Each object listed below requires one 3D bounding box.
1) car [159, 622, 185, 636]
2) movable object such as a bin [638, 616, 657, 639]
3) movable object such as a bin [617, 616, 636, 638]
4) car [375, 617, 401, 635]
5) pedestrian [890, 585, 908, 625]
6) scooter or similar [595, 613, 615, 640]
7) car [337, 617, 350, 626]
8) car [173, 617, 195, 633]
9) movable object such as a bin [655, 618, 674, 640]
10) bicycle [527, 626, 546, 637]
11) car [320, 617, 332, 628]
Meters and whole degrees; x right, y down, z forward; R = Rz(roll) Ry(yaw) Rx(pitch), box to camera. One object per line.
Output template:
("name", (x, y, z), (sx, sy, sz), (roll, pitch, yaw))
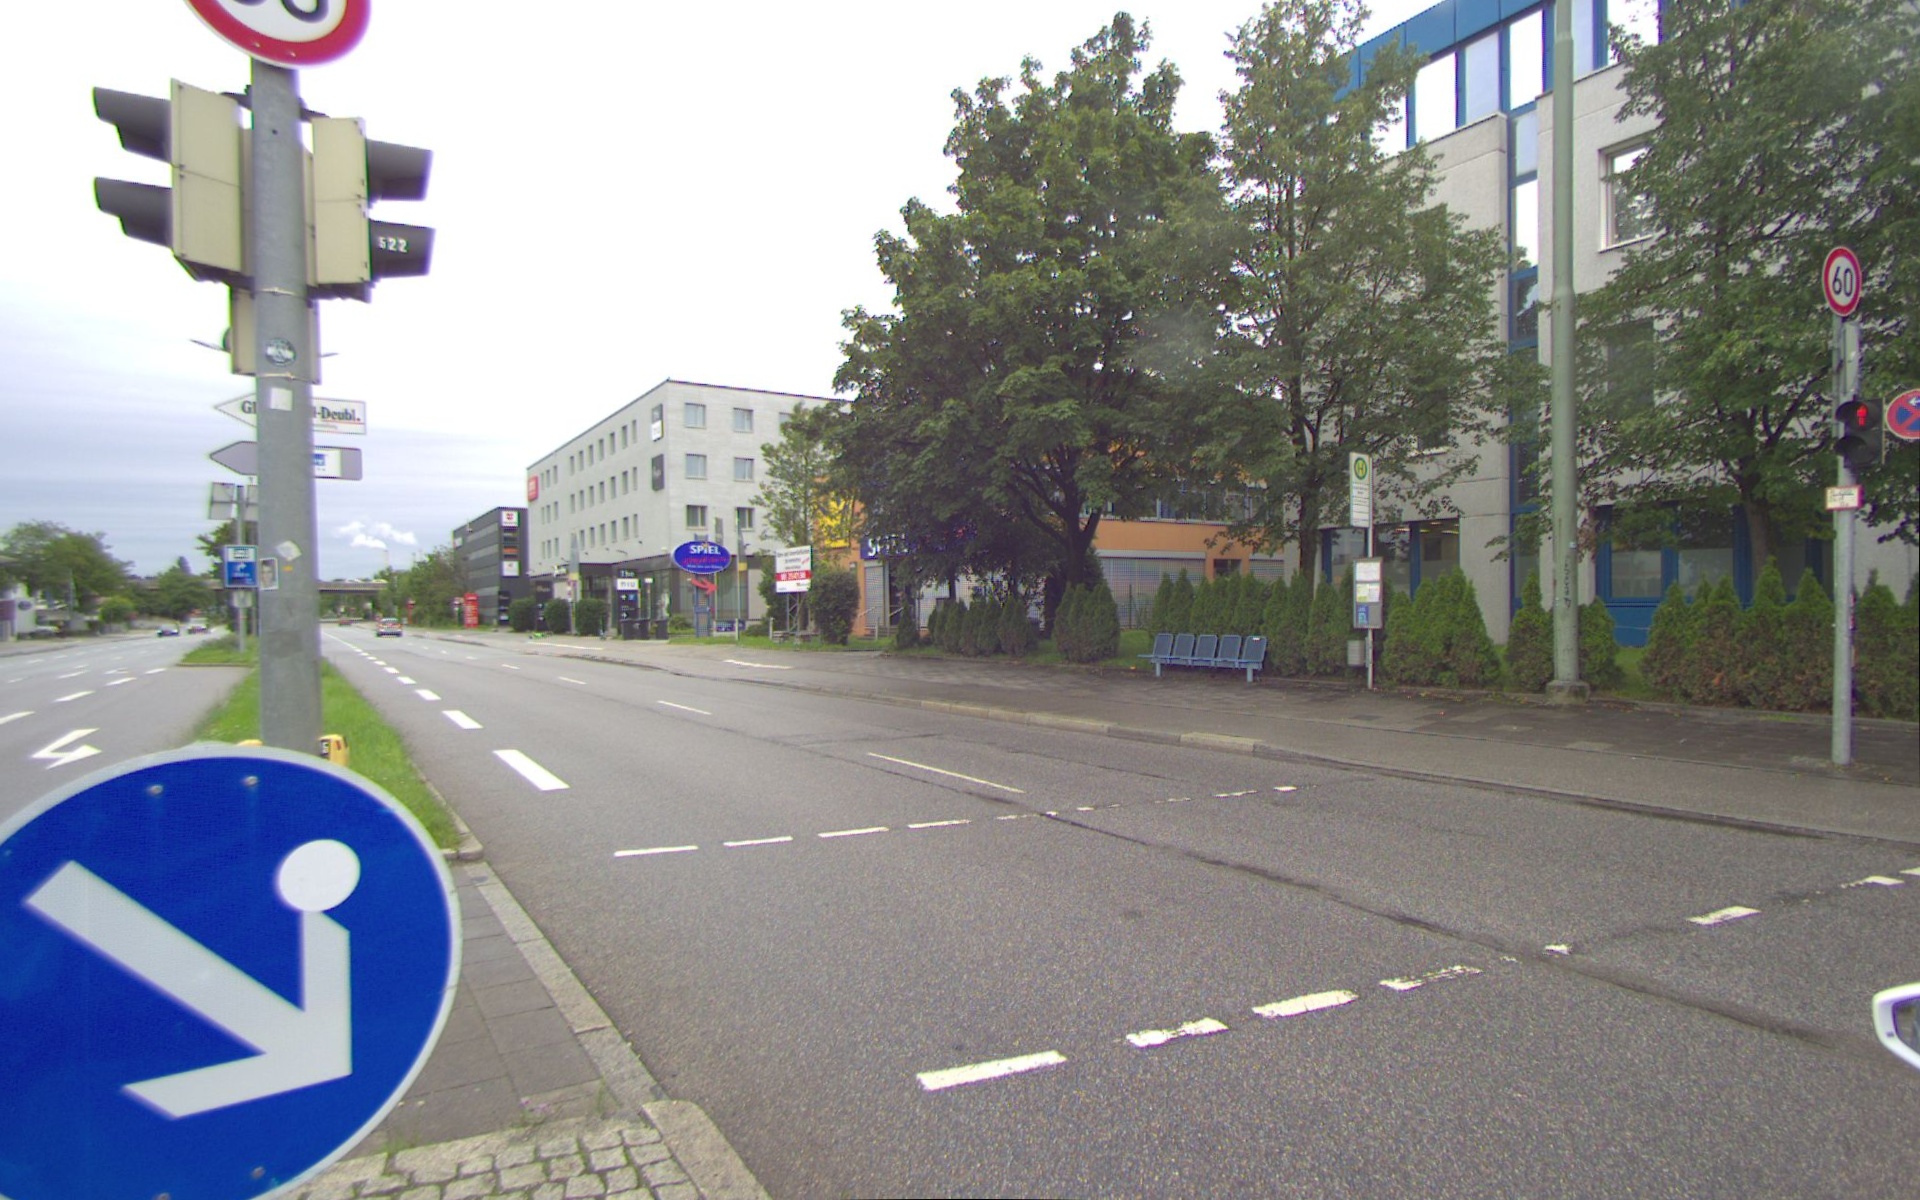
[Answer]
("car", (-89.559, 3.288, 114.211), (1.980, 1.420, 4.609), (-2, 1, -35))
("movable object such as a bin", (-15.745, 1.376, 50.551), (0.731, 1.092, 0.649), (-2, 1, -34))
("movable object such as a bin", (-16.732, 1.353, 50.355), (0.731, 1.092, 0.649), (-2, 1, -34))
("car", (-50.342, 2.270, 88.359), (1.800, 1.578, 3.991), (0, -1, -32))
("pedestrian", (-2.693, 0.233, 44.410), (0.647, 1.735, 0.663), (-2, 1, 1))
("scooter or similar", (-18.373, 1.357, 51.995), (0.581, 1.294, 1.391), (-7, 3, -33))
("car", (-108.890, 3.816, 177.350), (1.723, 1.569, 4.263), (0, -1, -34))
("car", (-98.705, 3.181, 127.787), (1.980, 1.987, 4.282), (-2, 1, -35))
("movable object such as a bin", (-15.034, 1.475, 51.035), (0.731, 1.092, 0.649), (-2, 1, -34))
("bicycle", (-25.309, 1.896, 60.003), (0.714, 0.556, 1.716), (-5, 2, -34))
("car", (-110.992, 3.935, 175.868), (1.798, 2.040, 3.800), (0, -1, -32))
